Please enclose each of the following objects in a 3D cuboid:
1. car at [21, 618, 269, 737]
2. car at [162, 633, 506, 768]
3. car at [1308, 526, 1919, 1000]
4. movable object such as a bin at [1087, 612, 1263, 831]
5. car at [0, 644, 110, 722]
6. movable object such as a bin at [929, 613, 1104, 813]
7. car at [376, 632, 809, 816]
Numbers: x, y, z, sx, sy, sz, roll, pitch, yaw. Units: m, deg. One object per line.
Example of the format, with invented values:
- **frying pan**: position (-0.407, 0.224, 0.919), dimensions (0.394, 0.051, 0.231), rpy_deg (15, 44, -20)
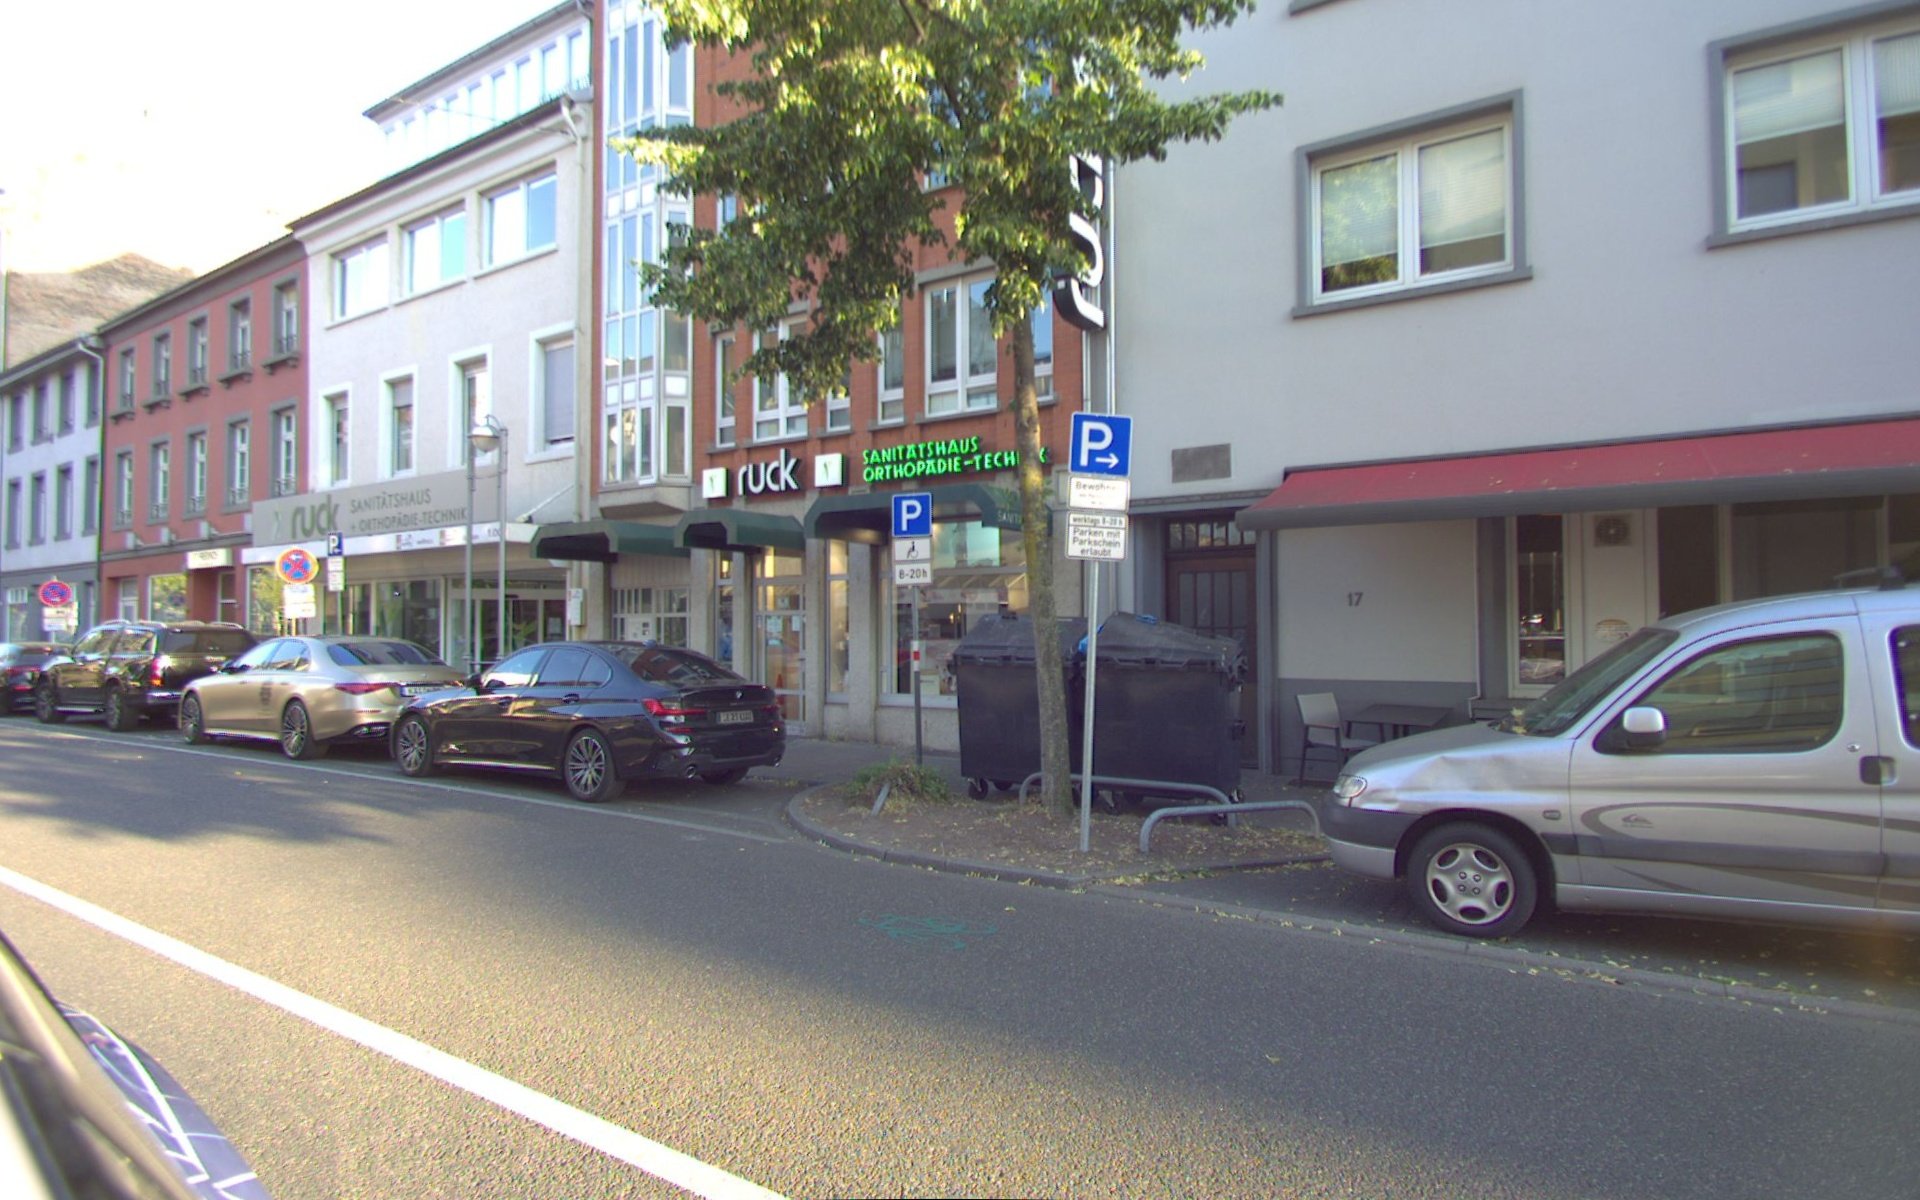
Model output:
- **car**: position (-14.079, 1.284, 17.399), dimensions (4.921, 1.793, 1.708), rpy_deg (-2, -4, 31)
- **car**: position (-8.417, 1.231, 13.449), dimensions (5.094, 1.484, 1.977), rpy_deg (-2, -4, 34)
- **car**: position (3.973, 0.704, 4.991), dimensions (4.038, 1.902, 1.657), rpy_deg (-1, -4, 31)
- **movable object such as a bin**: position (1.761, 0.934, 8.277), dimensions (1.203, 1.632, 0.775), rpy_deg (-1, 0, 30)
- **car**: position (-19.240, 1.650, 20.676), dimensions (4.001, 1.448, 1.688), rpy_deg (-2, -5, 32)
- **movable object such as a bin**: position (0.505, 0.947, 9.006), dimensions (1.331, 1.632, 0.775), rpy_deg (-1, -1, 30)
- **car**: position (-3.803, 1.115, 10.185), dimensions (4.528, 1.484, 1.706), rpy_deg (-2, -5, 33)
